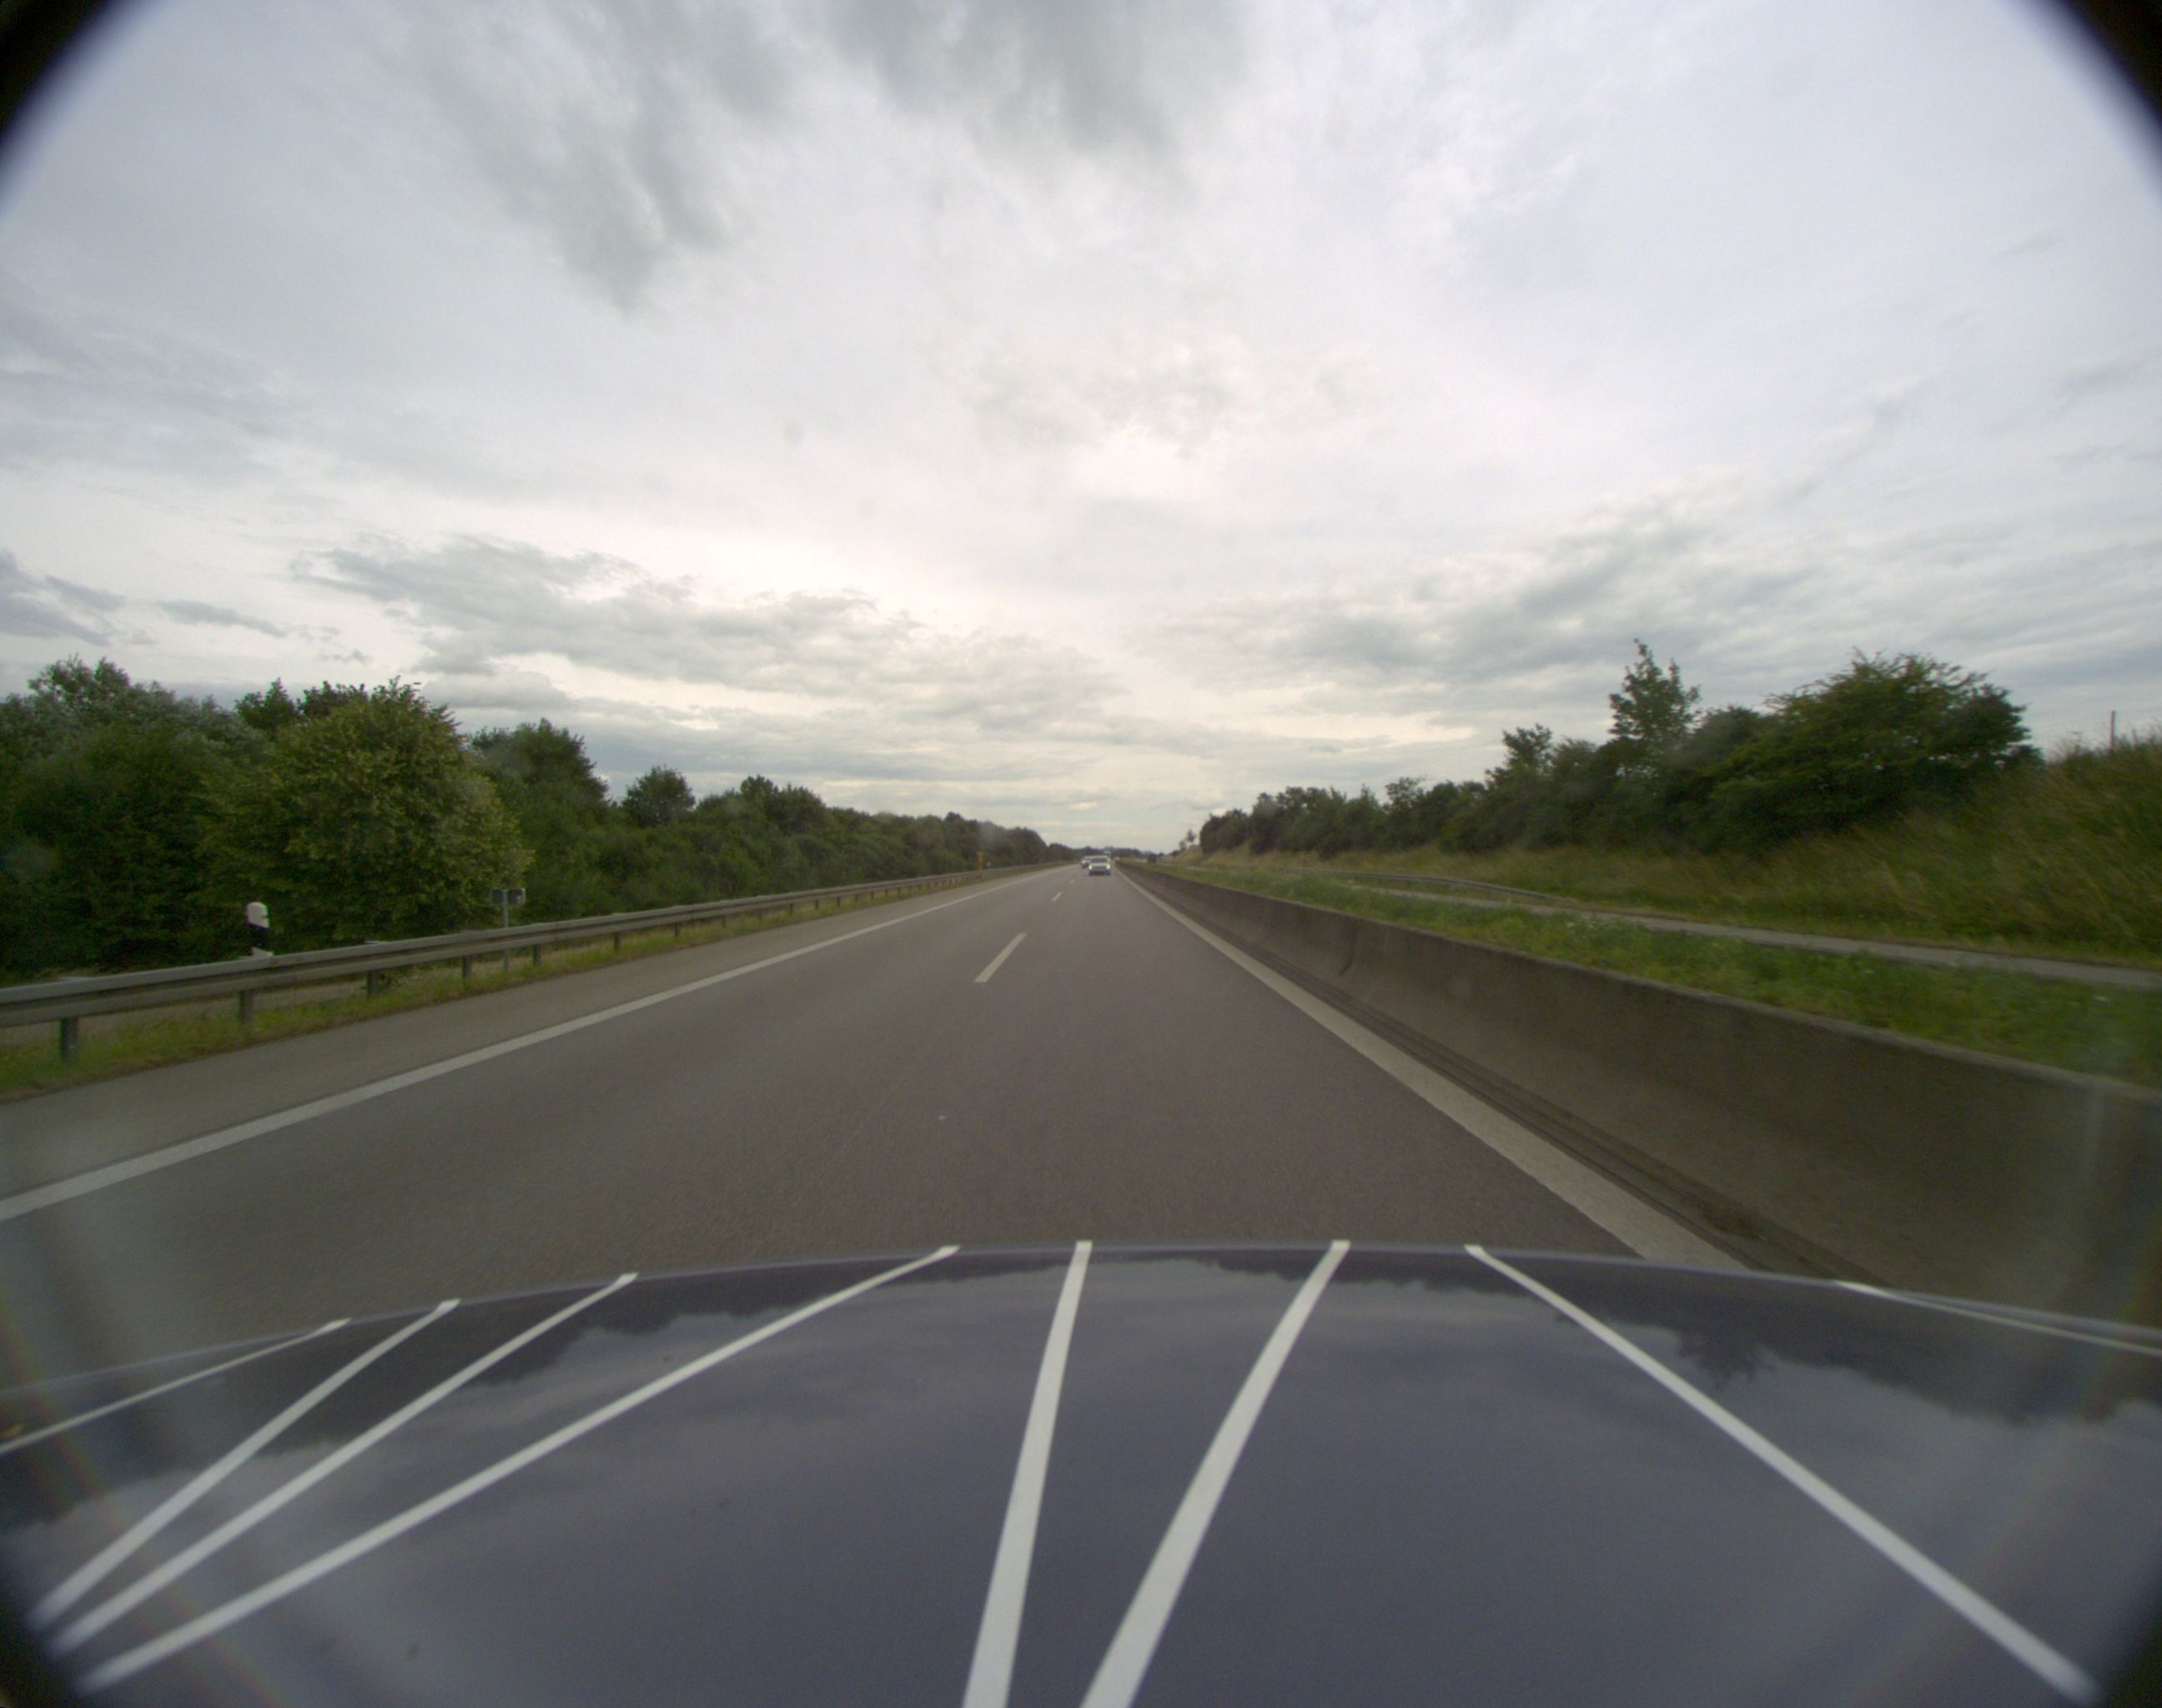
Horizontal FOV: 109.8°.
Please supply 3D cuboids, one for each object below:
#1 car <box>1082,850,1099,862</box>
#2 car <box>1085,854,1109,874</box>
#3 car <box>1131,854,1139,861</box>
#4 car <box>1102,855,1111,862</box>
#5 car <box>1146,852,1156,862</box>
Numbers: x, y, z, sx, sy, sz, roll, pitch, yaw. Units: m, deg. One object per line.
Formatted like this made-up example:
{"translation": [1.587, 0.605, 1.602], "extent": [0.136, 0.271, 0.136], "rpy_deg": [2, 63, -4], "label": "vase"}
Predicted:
{"translation": [1.347, 0.235, 104.993], "extent": [1.915, 1.553, 4.289], "rpy_deg": [-1, 0, 5], "label": "car"}
{"translation": [1.309, 0.788, 63.395], "extent": [1.916, 1.553, 4.288], "rpy_deg": [-1, 0, 0], "label": "car"}
{"translation": [15.919, 0.898, 224.737], "extent": [1.984, 2.002, 5.130], "rpy_deg": [-1, 0, 1], "label": "car"}
{"translation": [6.206, 1.009, 181.803], "extent": [1.915, 1.553, 4.289], "rpy_deg": [-1, 0, 5], "label": "car"}
{"translation": [17.128, 0.673, 186.089], "extent": [2.175, 2.450, 6.723], "rpy_deg": [1, 0, 2], "label": "car"}
